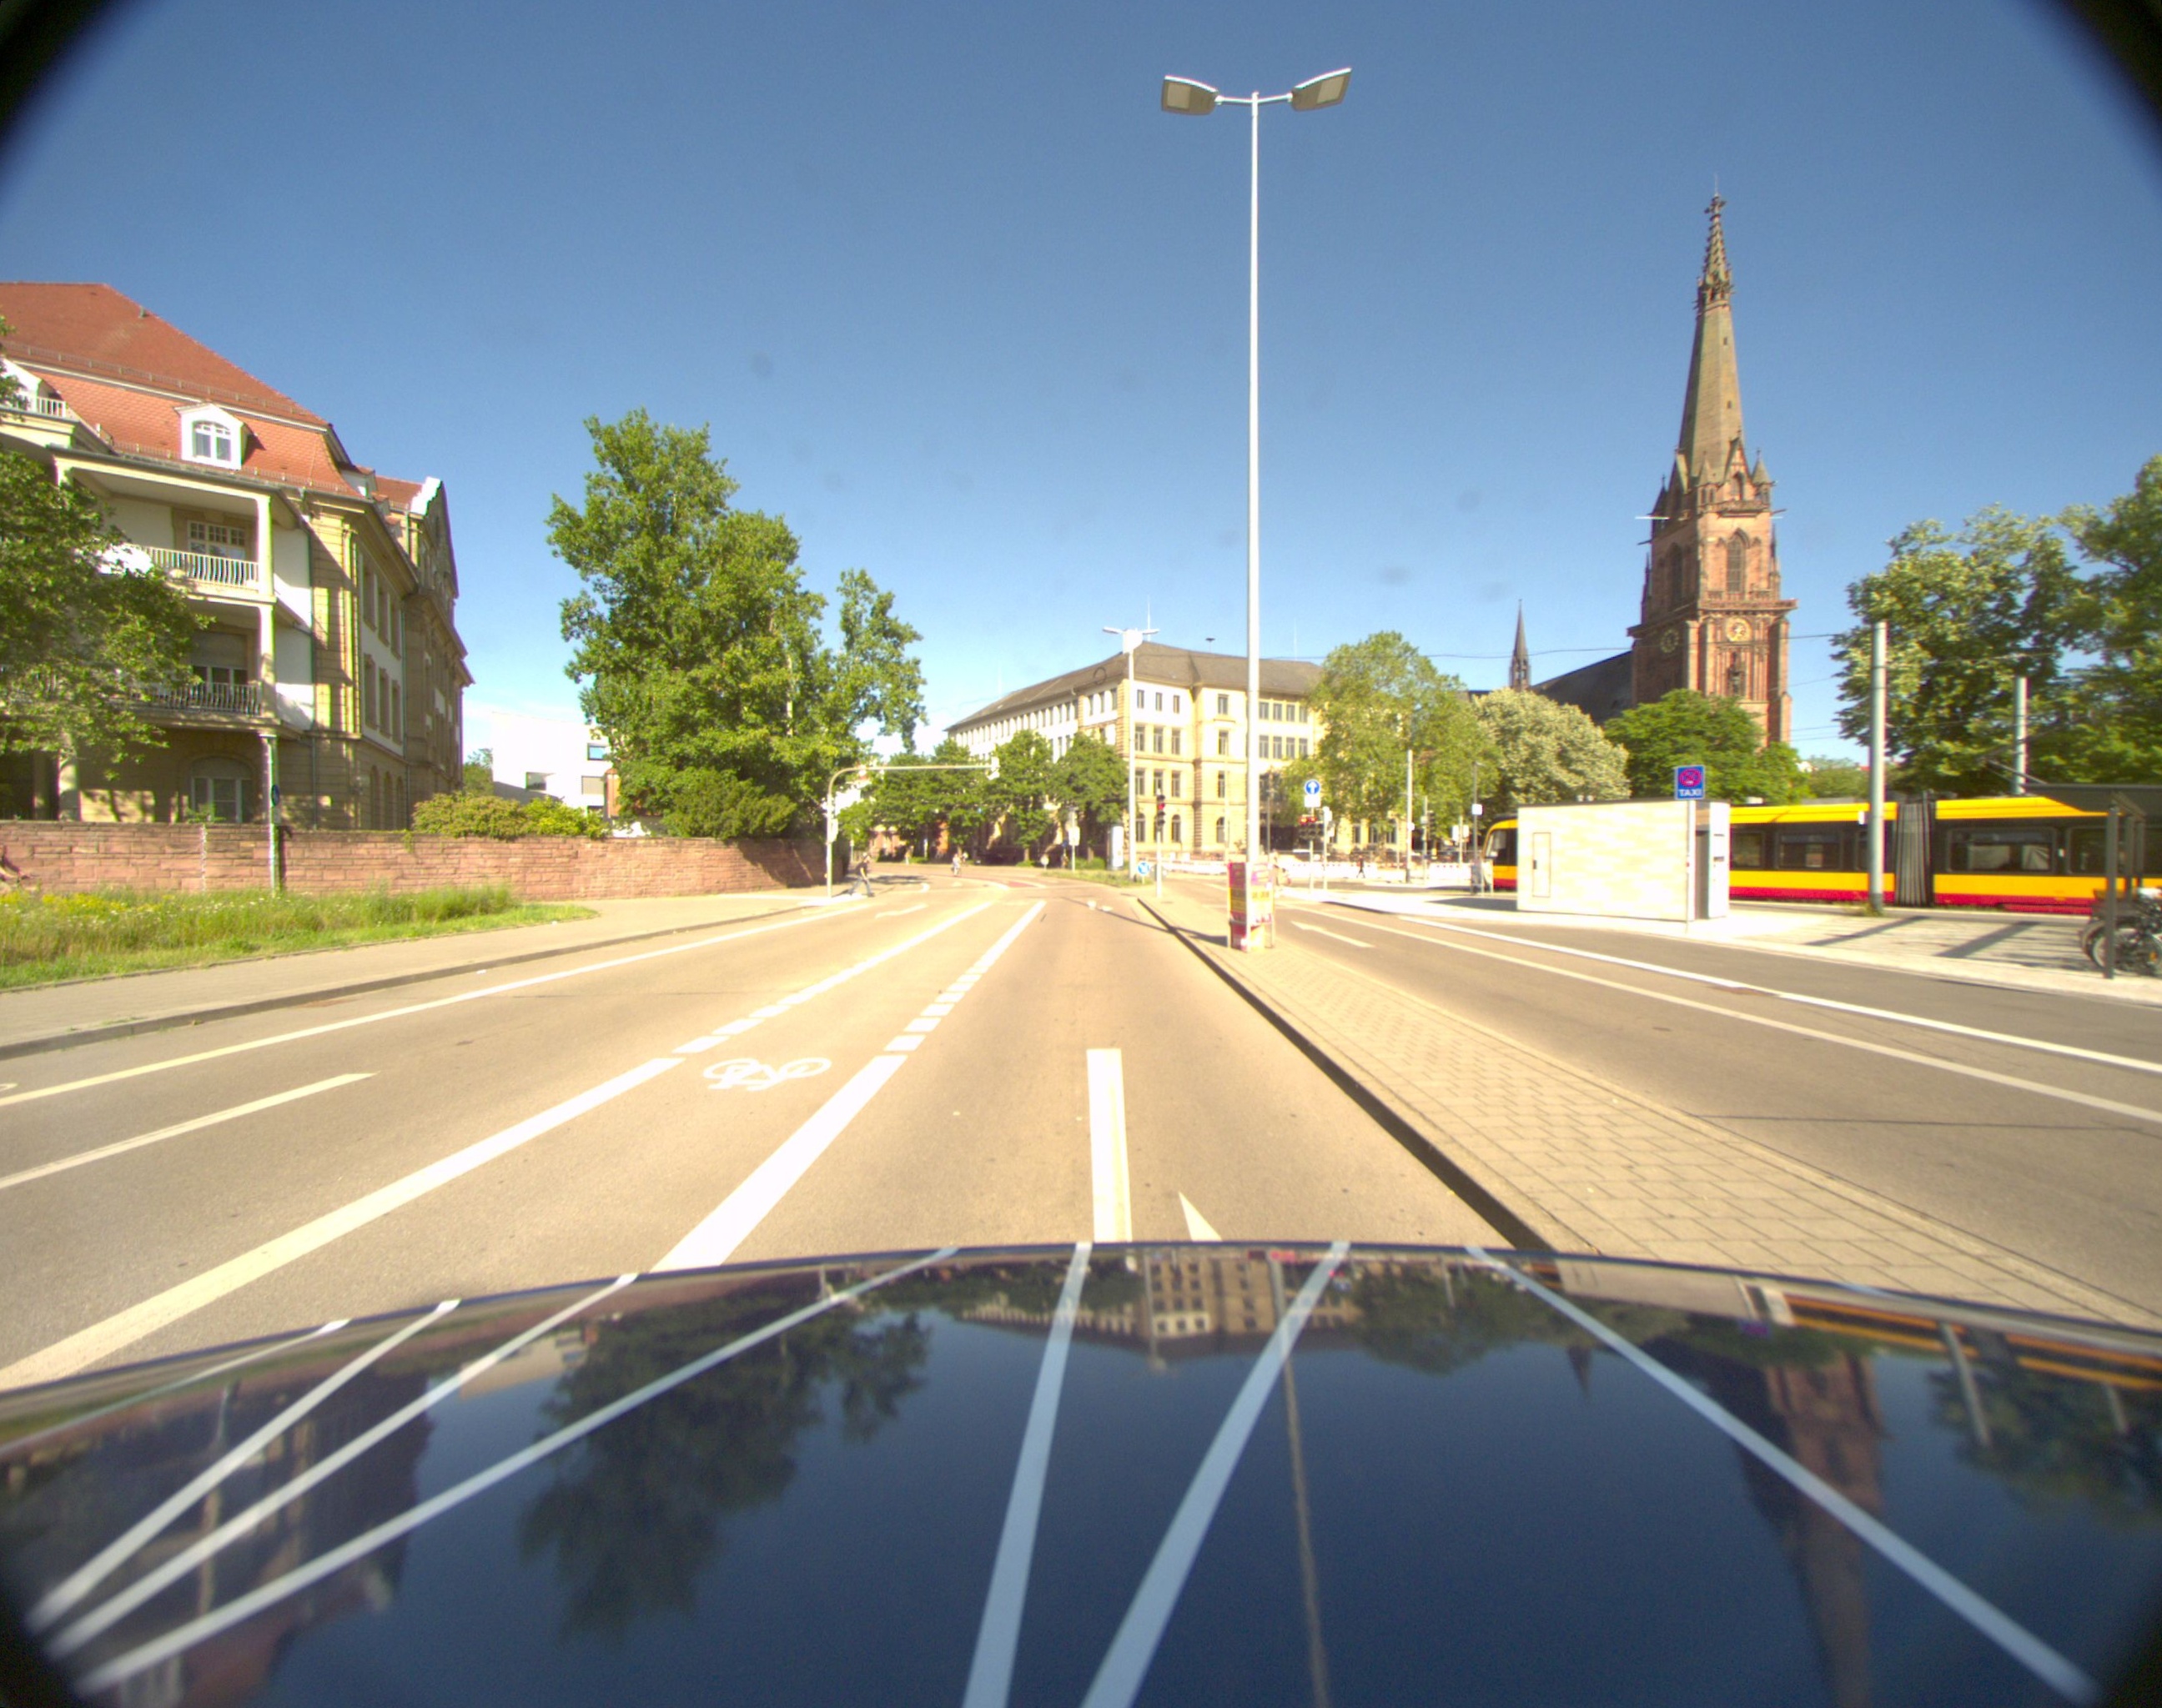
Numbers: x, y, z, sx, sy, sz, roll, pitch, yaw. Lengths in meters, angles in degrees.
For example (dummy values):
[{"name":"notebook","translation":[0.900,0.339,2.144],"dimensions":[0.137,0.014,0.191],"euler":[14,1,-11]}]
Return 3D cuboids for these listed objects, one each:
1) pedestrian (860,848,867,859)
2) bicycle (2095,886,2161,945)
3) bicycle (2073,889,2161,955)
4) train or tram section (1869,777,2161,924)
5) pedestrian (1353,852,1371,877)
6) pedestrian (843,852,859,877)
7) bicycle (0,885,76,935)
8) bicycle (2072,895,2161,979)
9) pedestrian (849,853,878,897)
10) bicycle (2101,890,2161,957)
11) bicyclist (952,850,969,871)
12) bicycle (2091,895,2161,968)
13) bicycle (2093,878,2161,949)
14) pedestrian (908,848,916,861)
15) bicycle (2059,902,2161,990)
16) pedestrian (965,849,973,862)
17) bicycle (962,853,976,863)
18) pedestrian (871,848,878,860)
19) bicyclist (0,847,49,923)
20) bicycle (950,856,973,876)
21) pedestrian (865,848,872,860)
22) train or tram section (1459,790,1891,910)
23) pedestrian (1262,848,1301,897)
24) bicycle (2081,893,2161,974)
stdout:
[{"name":"pedestrian","translation":[-35.581,-0.069,124.498],"dimensions":[0.759,1.802,0.978],"euler":[-1,1,-38]},{"name":"bicycle","translation":[19.525,1.119,13.449],"dimensions":[0.630,1.002,1.826],"euler":[-1,1,-32]},{"name":"bicycle","translation":[17.812,1.132,12.452],"dimensions":[0.630,1.002,1.826],"euler":[-1,1,-32]},{"name":"train or tram section","translation":[28.170,-0.092,18.397],"dimensions":[2.806,3.580,12.294],"euler":[-1,1,-35]},{"name":"pedestrian","translation":[19.578,0.701,52.897],"dimensions":[0.932,1.731,0.808],"euler":[1,1,42]},{"name":"pedestrian","translation":[-16.019,0.704,52.938],"dimensions":[0.940,1.711,0.994],"euler":[0,1,-12]},{"name":"bicycle","translation":[-23.314,1.202,16.328],"dimensions":[1.889,1.063,0.723],"euler":[3,-4,-36]},{"name":"bicycle","translation":[14.670,1.126,10.054],"dimensions":[0.630,1.059,1.826],"euler":[-1,1,-32]},{"name":"pedestrian","translation":[-9.181,0.872,32.068],"dimensions":[0.960,1.839,0.731],"euler":[1,1,5]},{"name":"bicycle","translation":[17.164,1.095,11.616],"dimensions":[0.630,1.002,1.826],"euler":[-1,1,-32]},{"name":"bicyclist","translation":[-8.798,0.464,55.543],"dimensions":[0.871,1.551,1.277],"euler":[-1,1,-29]},{"name":"bicycle","translation":[16.177,1.157,10.992],"dimensions":[0.630,1.002,1.826],"euler":[-1,1,-32]},{"name":"bicycle","translation":[18.945,1.043,13.040],"dimensions":[0.630,1.173,1.826],"euler":[-1,1,-32]},{"name":"pedestrian","translation":[-23.154,0.099,103.949],"dimensions":[0.759,1.802,0.977],"euler":[-1,1,-40]},{"name":"bicycle","translation":[13.937,1.202,9.586],"dimensions":[0.702,1.002,1.863],"euler":[-1,2,-32]},{"name":"pedestrian","translation":[-12.693,0.178,86.360],"dimensions":[0.597,1.394,0.644],"euler":[-3,2,-38]},{"name":"bicycle","translation":[-12.720,0.456,86.443],"dimensions":[0.602,1.000,1.982],"euler":[-3,1,-39]},{"name":"pedestrian","translation":[-32.373,0.018,119.053],"dimensions":[0.758,1.801,0.979],"euler":[-1,-3,-30]},{"name":"bicyclist","translation":[-23.170,0.663,16.425],"dimensions":[0.779,1.596,0.720],"euler":[-2,1,-36]},{"name":"bicycle","translation":[-8.725,0.847,55.418],"dimensions":[0.763,1.360,2.731],"euler":[-1,1,-28]},{"name":"pedestrian","translation":[-33.137,0.055,118.387],"dimensions":[0.759,1.801,0.978],"euler":[-1,-3,-32]},{"name":"train or tram section","translation":[21.108,-0.148,28.589],"dimensions":[2.806,3.580,12.504],"euler":[-1,1,-35]},{"name":"pedestrian","translation":[7.714,0.686,29.287],"dimensions":[1.229,1.845,0.827],"euler":[0,1,-10]},{"name":"bicycle","translation":[15.140,1.112,10.320],"dimensions":[0.574,1.045,1.826],"euler":[-1,1,-32]}]
